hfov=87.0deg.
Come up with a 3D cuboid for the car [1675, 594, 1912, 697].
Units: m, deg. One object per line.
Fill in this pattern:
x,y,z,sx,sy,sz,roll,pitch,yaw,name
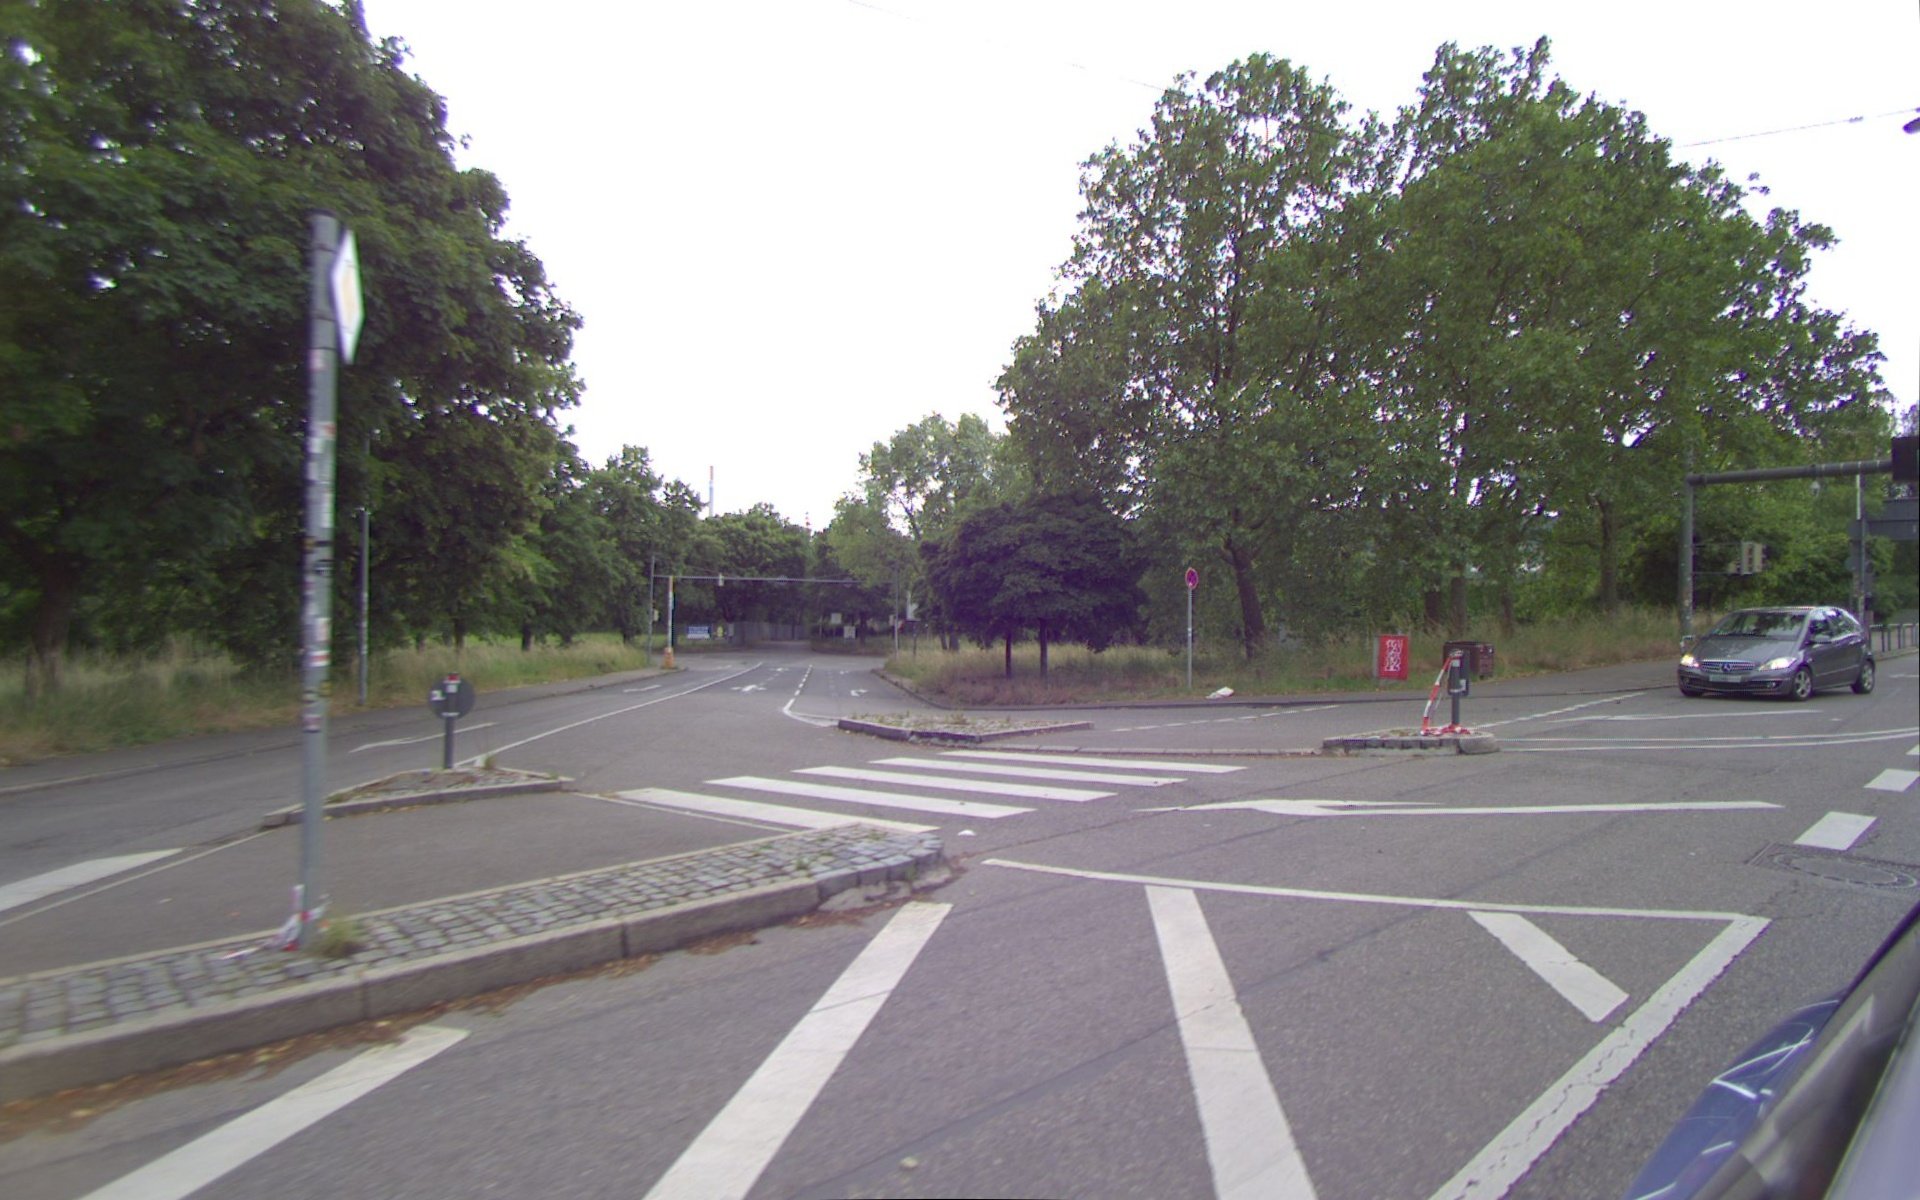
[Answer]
14.718,0.783,17.858,3.951,1.637,1.834,1,-2,-28,car
